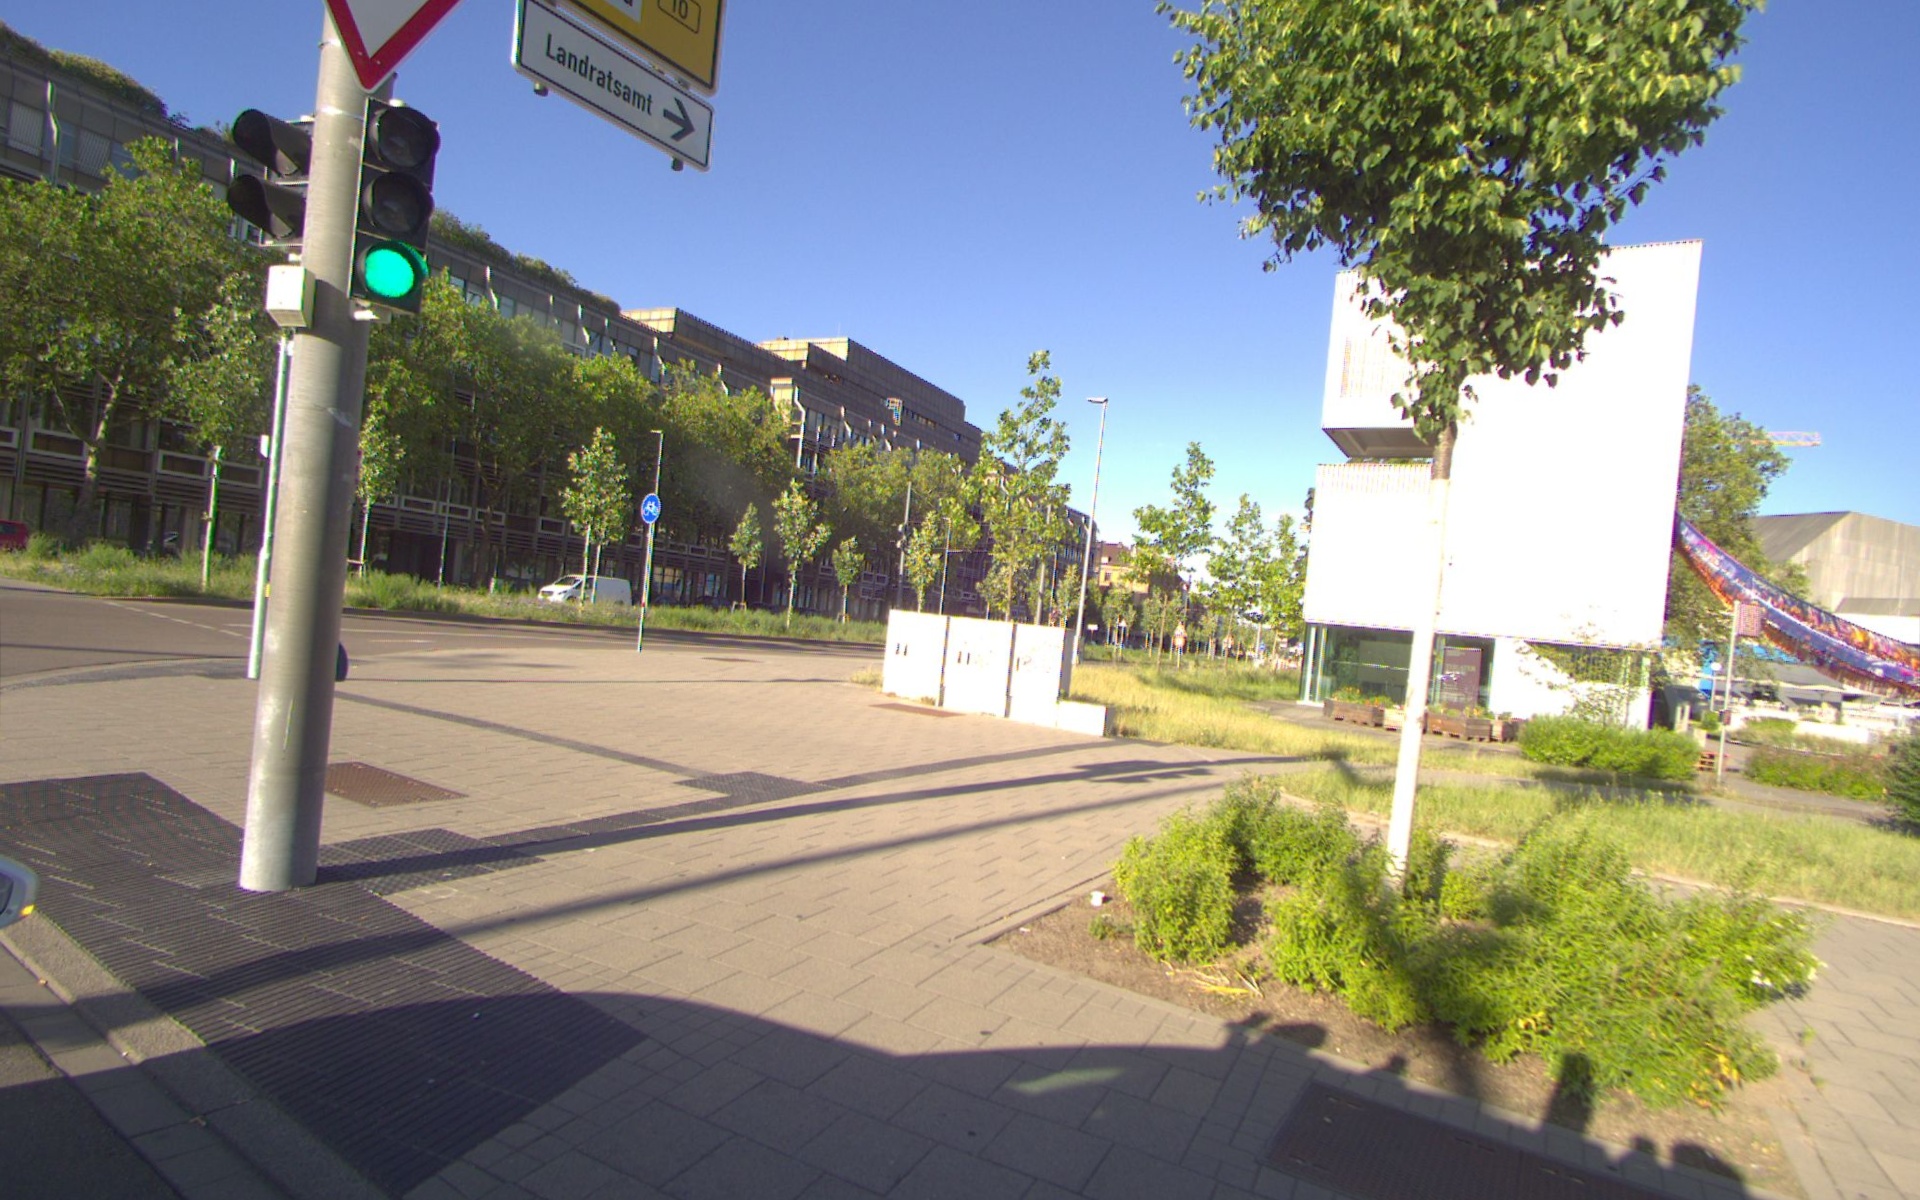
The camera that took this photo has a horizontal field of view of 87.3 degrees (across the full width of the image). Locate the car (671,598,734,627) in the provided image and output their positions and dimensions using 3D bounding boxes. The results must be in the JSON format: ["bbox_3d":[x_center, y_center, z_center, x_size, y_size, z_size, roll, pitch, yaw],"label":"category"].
[{"bbox_3d":[-18.544,0.920,72.735,1.718,1.575,4.621,7,-1,26],"label":"car"}]

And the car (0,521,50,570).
[{"bbox_3d":[-33.514,-1.970,33.844,1.816,1.503,3.874,2,-3,30],"label":"car"}]

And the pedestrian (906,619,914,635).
[{"bbox_3d":[-5.198,2.817,104.777,0.654,1.551,0.649,6,0,-5],"label":"pedestrian"}]

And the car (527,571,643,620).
[{"bbox_3d":[-19.749,-0.194,53.295,2.227,2.037,5.705,3,-3,27],"label":"car"}]

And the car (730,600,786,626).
[{"bbox_3d":[-15.789,1.028,78.757,1.884,1.651,4.357,3,-3,29],"label":"car"}]

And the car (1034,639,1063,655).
[{"bbox_3d":[9.732,5.102,109.858,1.688,1.470,3.570,4,-2,31],"label":"car"}]

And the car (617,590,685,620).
[{"bbox_3d":[-20.845,0.352,67.983,1.966,1.539,3.994,6,-1,30],"label":"car"}]
